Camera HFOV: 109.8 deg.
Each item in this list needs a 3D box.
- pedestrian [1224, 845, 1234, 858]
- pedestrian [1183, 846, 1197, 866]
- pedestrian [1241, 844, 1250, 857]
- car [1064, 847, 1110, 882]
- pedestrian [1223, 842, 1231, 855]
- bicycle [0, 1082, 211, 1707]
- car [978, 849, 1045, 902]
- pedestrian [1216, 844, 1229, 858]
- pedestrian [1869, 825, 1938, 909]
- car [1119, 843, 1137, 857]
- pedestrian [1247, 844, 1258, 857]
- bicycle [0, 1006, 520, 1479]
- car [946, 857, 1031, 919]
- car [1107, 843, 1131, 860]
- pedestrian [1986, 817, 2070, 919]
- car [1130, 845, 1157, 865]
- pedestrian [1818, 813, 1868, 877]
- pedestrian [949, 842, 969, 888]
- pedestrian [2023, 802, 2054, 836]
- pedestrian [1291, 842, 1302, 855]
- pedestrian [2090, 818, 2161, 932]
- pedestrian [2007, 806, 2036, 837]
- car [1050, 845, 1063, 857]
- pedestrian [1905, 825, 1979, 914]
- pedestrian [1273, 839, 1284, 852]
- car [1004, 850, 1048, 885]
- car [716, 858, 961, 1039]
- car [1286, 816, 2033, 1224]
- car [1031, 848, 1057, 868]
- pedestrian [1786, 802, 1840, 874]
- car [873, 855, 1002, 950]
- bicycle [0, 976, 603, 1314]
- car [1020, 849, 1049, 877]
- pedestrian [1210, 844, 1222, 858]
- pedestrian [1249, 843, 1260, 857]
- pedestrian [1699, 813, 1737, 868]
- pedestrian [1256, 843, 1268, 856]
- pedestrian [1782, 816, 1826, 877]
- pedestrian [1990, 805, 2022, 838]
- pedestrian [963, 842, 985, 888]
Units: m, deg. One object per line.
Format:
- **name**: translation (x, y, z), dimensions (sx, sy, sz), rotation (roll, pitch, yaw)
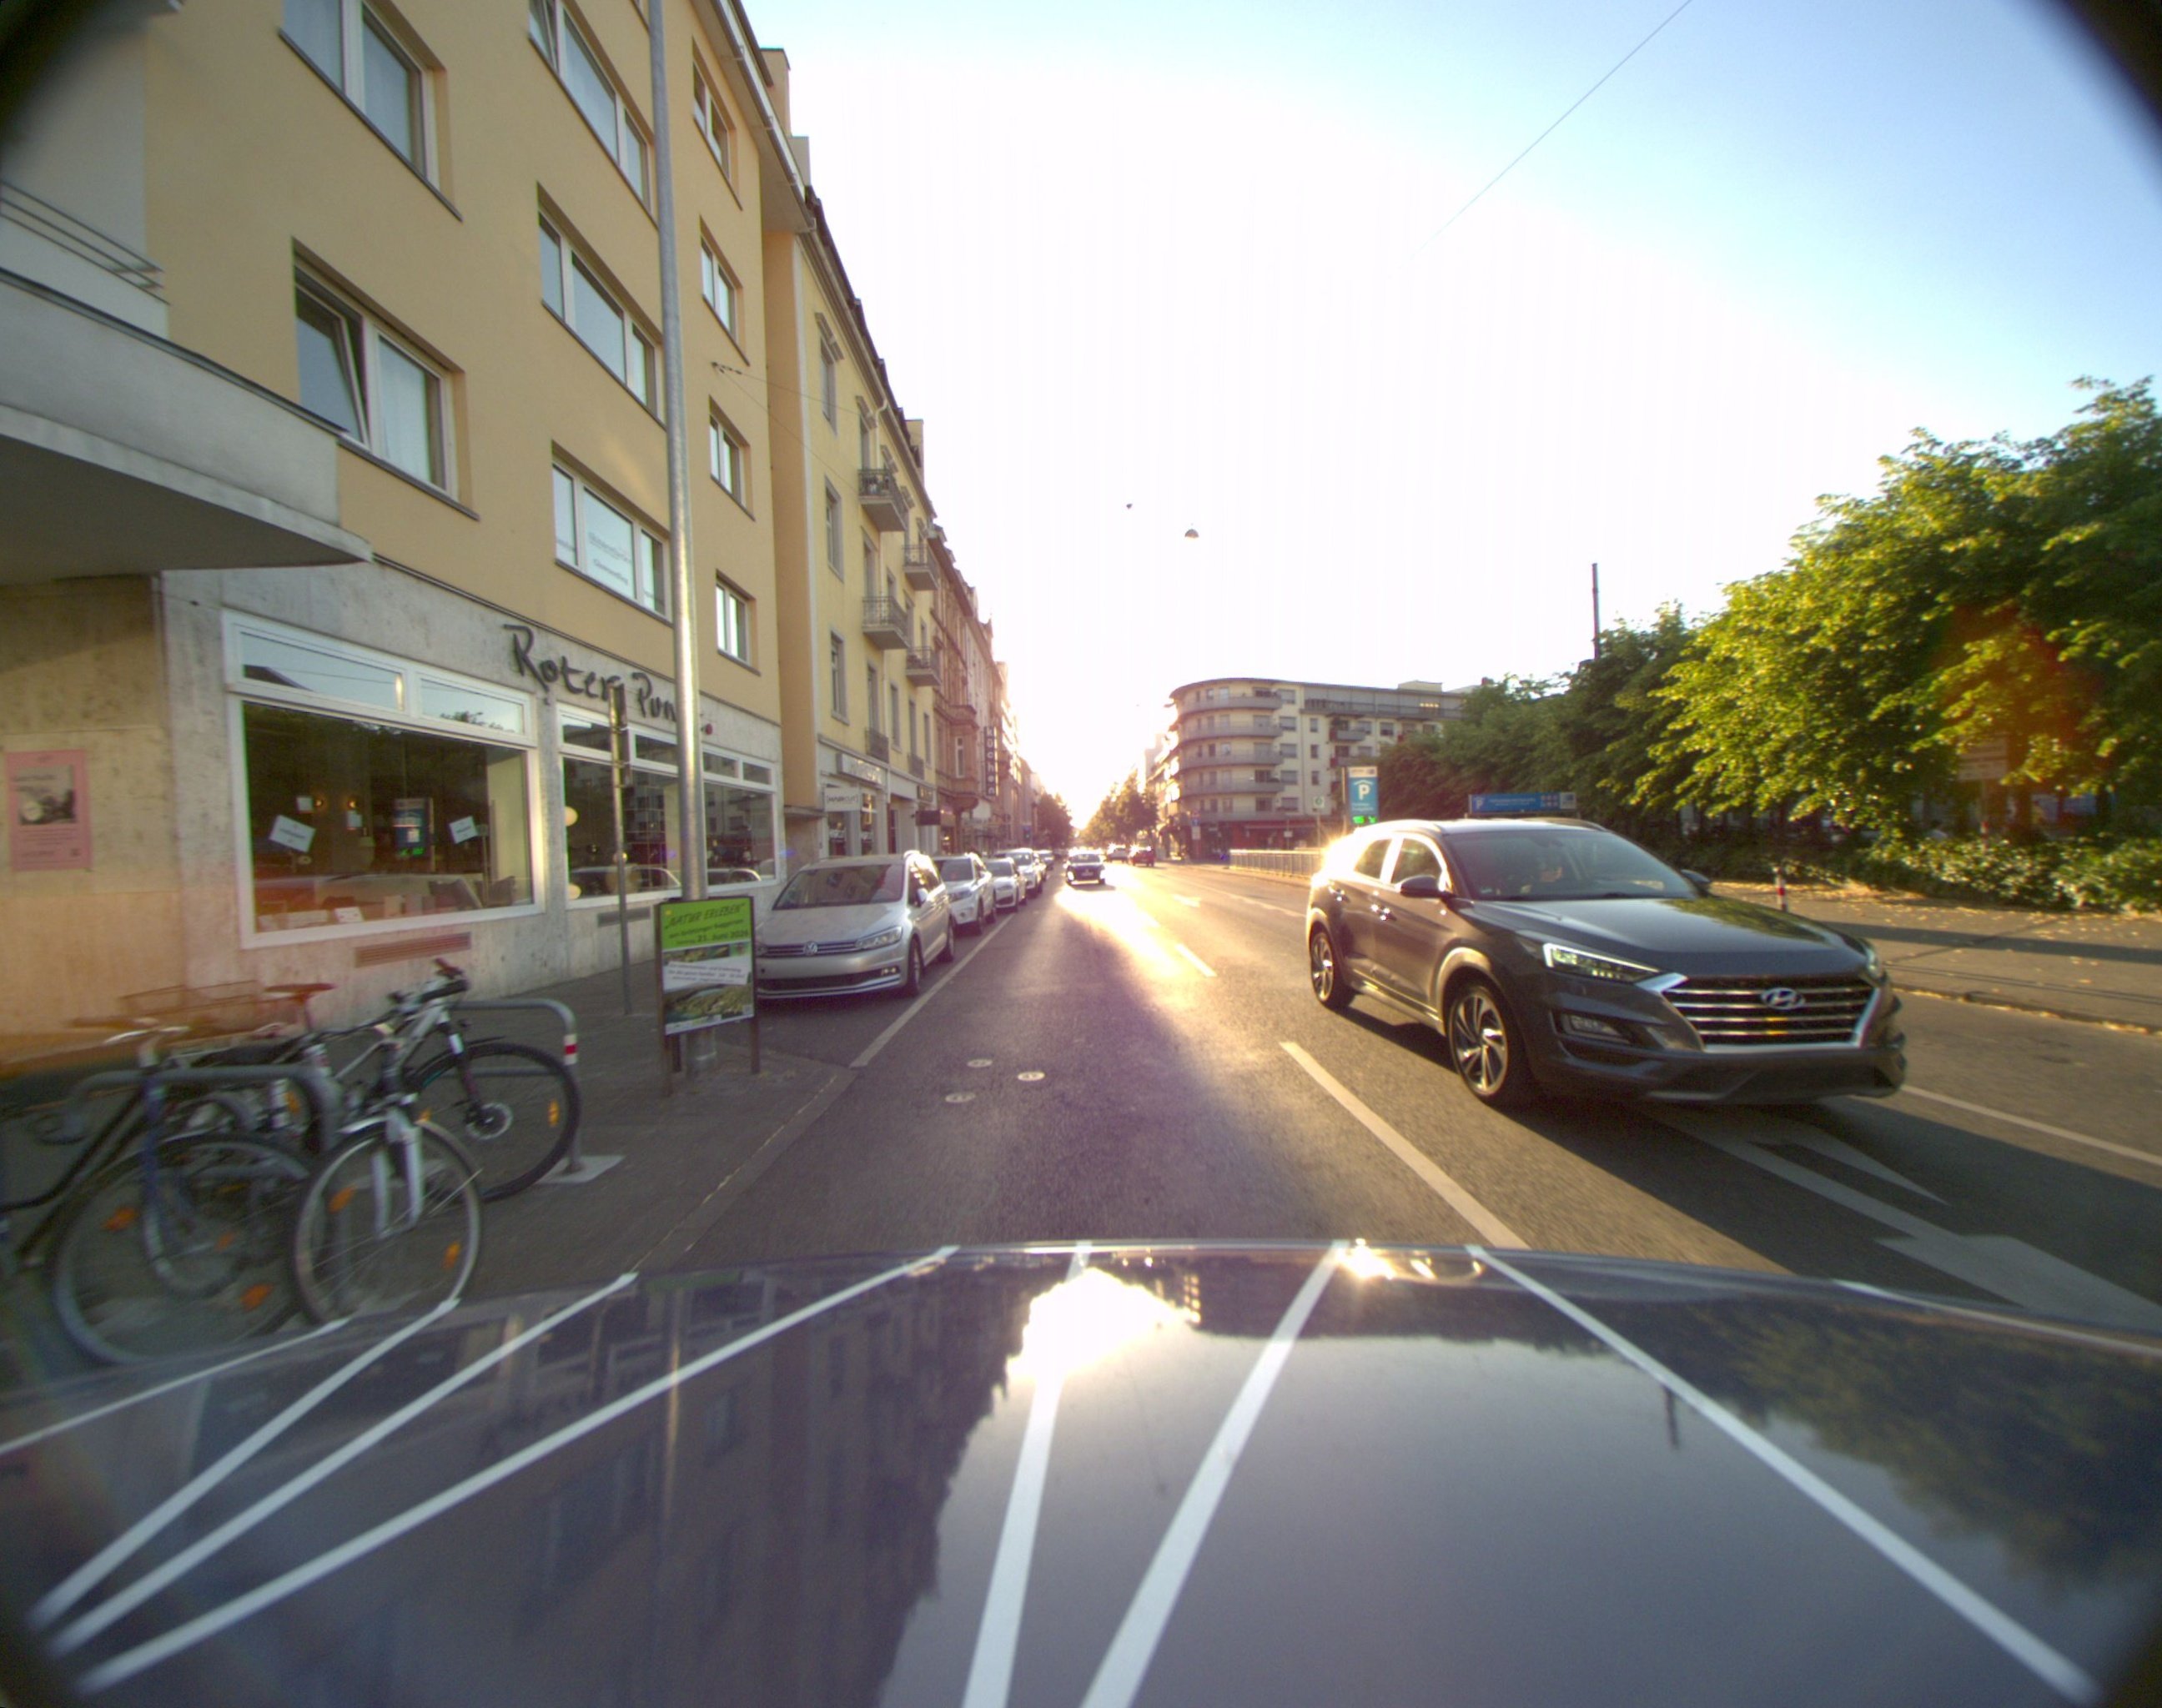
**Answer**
- **pedestrian**: translation (14.587, -0.266, 74.753), dimensions (0.887, 1.185, 0.733), rotation (-2, 1, 10)
- **pedestrian**: translation (8.339, 0.170, 58.173), dimensions (0.678, 1.509, 0.676), rotation (-3, 1, -42)
- **pedestrian**: translation (16.380, -0.338, 75.698), dimensions (0.732, 1.315, 0.888), rotation (-2, 1, -1)
- **car**: translation (0.209, 0.432, 34.809), dimensions (1.908, 1.438, 4.448), rotation (-2, 1, -2)
- **pedestrian**: translation (14.568, -0.564, 75.813), dimensions (0.677, 1.315, 0.611), rotation (-2, 1, -1)
- **bicycle**: translation (-3.031, 1.167, 1.439), dimensions (1.788, 1.166, 0.621), rotation (-1, 1, -11)
- **car**: translation (-2.384, 0.685, 27.166), dimensions (1.877, 1.664, 4.429), rotation (-2, 1, 0)
- **pedestrian**: translation (13.703, -0.260, 73.714), dimensions (0.890, 1.315, 0.731), rotation (-3, 1, -31)
- **pedestrian**: translation (20.190, 0.317, 18.667), dimensions (0.904, 2.002, 0.740), rotation (-2, 1, 24)
- **car**: translation (6.246, -0.521, 100.988), dimensions (1.999, 1.805, 3.999), rotation (-2, 1, -2)
- **pedestrian**: translation (17.072, -0.371, 75.650), dimensions (0.732, 1.315, 0.888), rotation (-2, 1, -2)
- **bicycle**: translation (-3.209, 1.139, 2.390), dimensions (2.176, 1.069, 0.805), rotation (-1, 1, -7)
- **car**: translation (-2.490, 0.866, 21.483), dimensions (1.738, 1.448, 4.610), rotation (-2, 1, 1)
- **car**: translation (3.774, -0.274, 76.280), dimensions (1.878, 1.621, 4.176), rotation (0, 0, -5)
- **pedestrian**: translation (19.138, 0.273, 15.369), dimensions (0.764, 2.002, 0.739), rotation (-2, 1, 2)
- **car**: translation (5.024, 0.076, 61.389), dimensions (1.790, 1.458, 3.955), rotation (-1, 1, -1)
- **pedestrian**: translation (24.646, -0.285, 24.578), dimensions (0.906, 2.002, 0.738), rotation (-3, 1, -11)
- **pedestrian**: translation (-5.488, 0.487, 34.289), dimensions (0.673, 2.002, 0.851), rotation (-2, 1, 0)
- **pedestrian**: translation (40.558, -1.479, 32.183), dimensions (0.520, 1.368, 0.654), rotation (-3, 1, -14)
- **pedestrian**: translation (22.350, -0.595, 78.869), dimensions (0.731, 1.315, 0.890), rotation (-1, 1, 39)
- **pedestrian**: translation (19.536, 0.361, 13.984), dimensions (0.906, 2.002, 0.855), rotation (-3, 1, -13)
- **pedestrian**: translation (42.307, -1.469, 34.163), dimensions (0.520, 1.368, 0.654), rotation (-3, 1, -14)
- **car**: translation (-4.053, -0.524, 126.652), dimensions (1.999, 1.806, 3.997), rotation (-2, 3, -4)
- **pedestrian**: translation (20.007, 0.351, 17.674), dimensions (0.904, 2.002, 0.740), rotation (-2, 1, 27)
- **pedestrian**: translation (20.011, -0.886, 76.964), dimensions (0.733, 1.315, 0.887), rotation (-3, 1, -15)
- **car**: translation (-2.698, 0.626, 38.286), dimensions (1.908, 1.531, 4.448), rotation (-2, 1, -1)
- **car**: translation (-2.723, 0.929, 9.720), dimensions (1.702, 1.607, 4.681), rotation (-2, 1, -2)
- **car**: translation (3.049, 0.674, 5.424), dimensions (1.877, 1.680, 4.448), rotation (-1, 1, -1)
- **car**: translation (-2.920, 0.290, 61.073), dimensions (1.908, 1.421, 4.448), rotation (-2, 1, -1)
- **pedestrian**: translation (20.899, -0.444, 21.708), dimensions (0.904, 2.002, 0.740), rotation (-2, 1, 27)
- **car**: translation (-2.825, 0.884, 15.944), dimensions (1.821, 1.611, 4.202), rotation (-2, 1, 0)
- **bicycle**: translation (-3.302, 1.197, 3.390), dimensions (1.851, 1.117, 0.594), rotation (-1, 2, -11)
- **car**: translation (-2.885, 0.536, 47.999), dimensions (1.645, 1.574, 4.201), rotation (-2, 1, -1)
- **pedestrian**: translation (13.256, -0.318, 74.530), dimensions (0.890, 1.315, 0.731), rotation (-3, 1, -27)
- **pedestrian**: translation (17.627, -0.415, 77.045), dimensions (0.688, 1.315, 0.819), rotation (-3, 1, -24)
- **pedestrian**: translation (23.865, -0.489, 28.458), dimensions (0.907, 2.002, 0.738), rotation (-3, 1, -23)
- **pedestrian**: translation (18.050, -0.471, 75.813), dimensions (0.733, 1.315, 0.888), rotation (-3, 1, -13)
- **pedestrian**: translation (24.470, -0.254, 25.724), dimensions (0.907, 2.002, 0.738), rotation (-3, 1, -23)
- **pedestrian**: translation (40.523, -1.427, 33.293), dimensions (0.662, 1.368, 0.654), rotation (-4, 2, -14)
- **pedestrian**: translation (-4.859, 0.487, 34.591), dimensions (0.763, 2.002, 0.851), rotation (-2, 1, 0)
